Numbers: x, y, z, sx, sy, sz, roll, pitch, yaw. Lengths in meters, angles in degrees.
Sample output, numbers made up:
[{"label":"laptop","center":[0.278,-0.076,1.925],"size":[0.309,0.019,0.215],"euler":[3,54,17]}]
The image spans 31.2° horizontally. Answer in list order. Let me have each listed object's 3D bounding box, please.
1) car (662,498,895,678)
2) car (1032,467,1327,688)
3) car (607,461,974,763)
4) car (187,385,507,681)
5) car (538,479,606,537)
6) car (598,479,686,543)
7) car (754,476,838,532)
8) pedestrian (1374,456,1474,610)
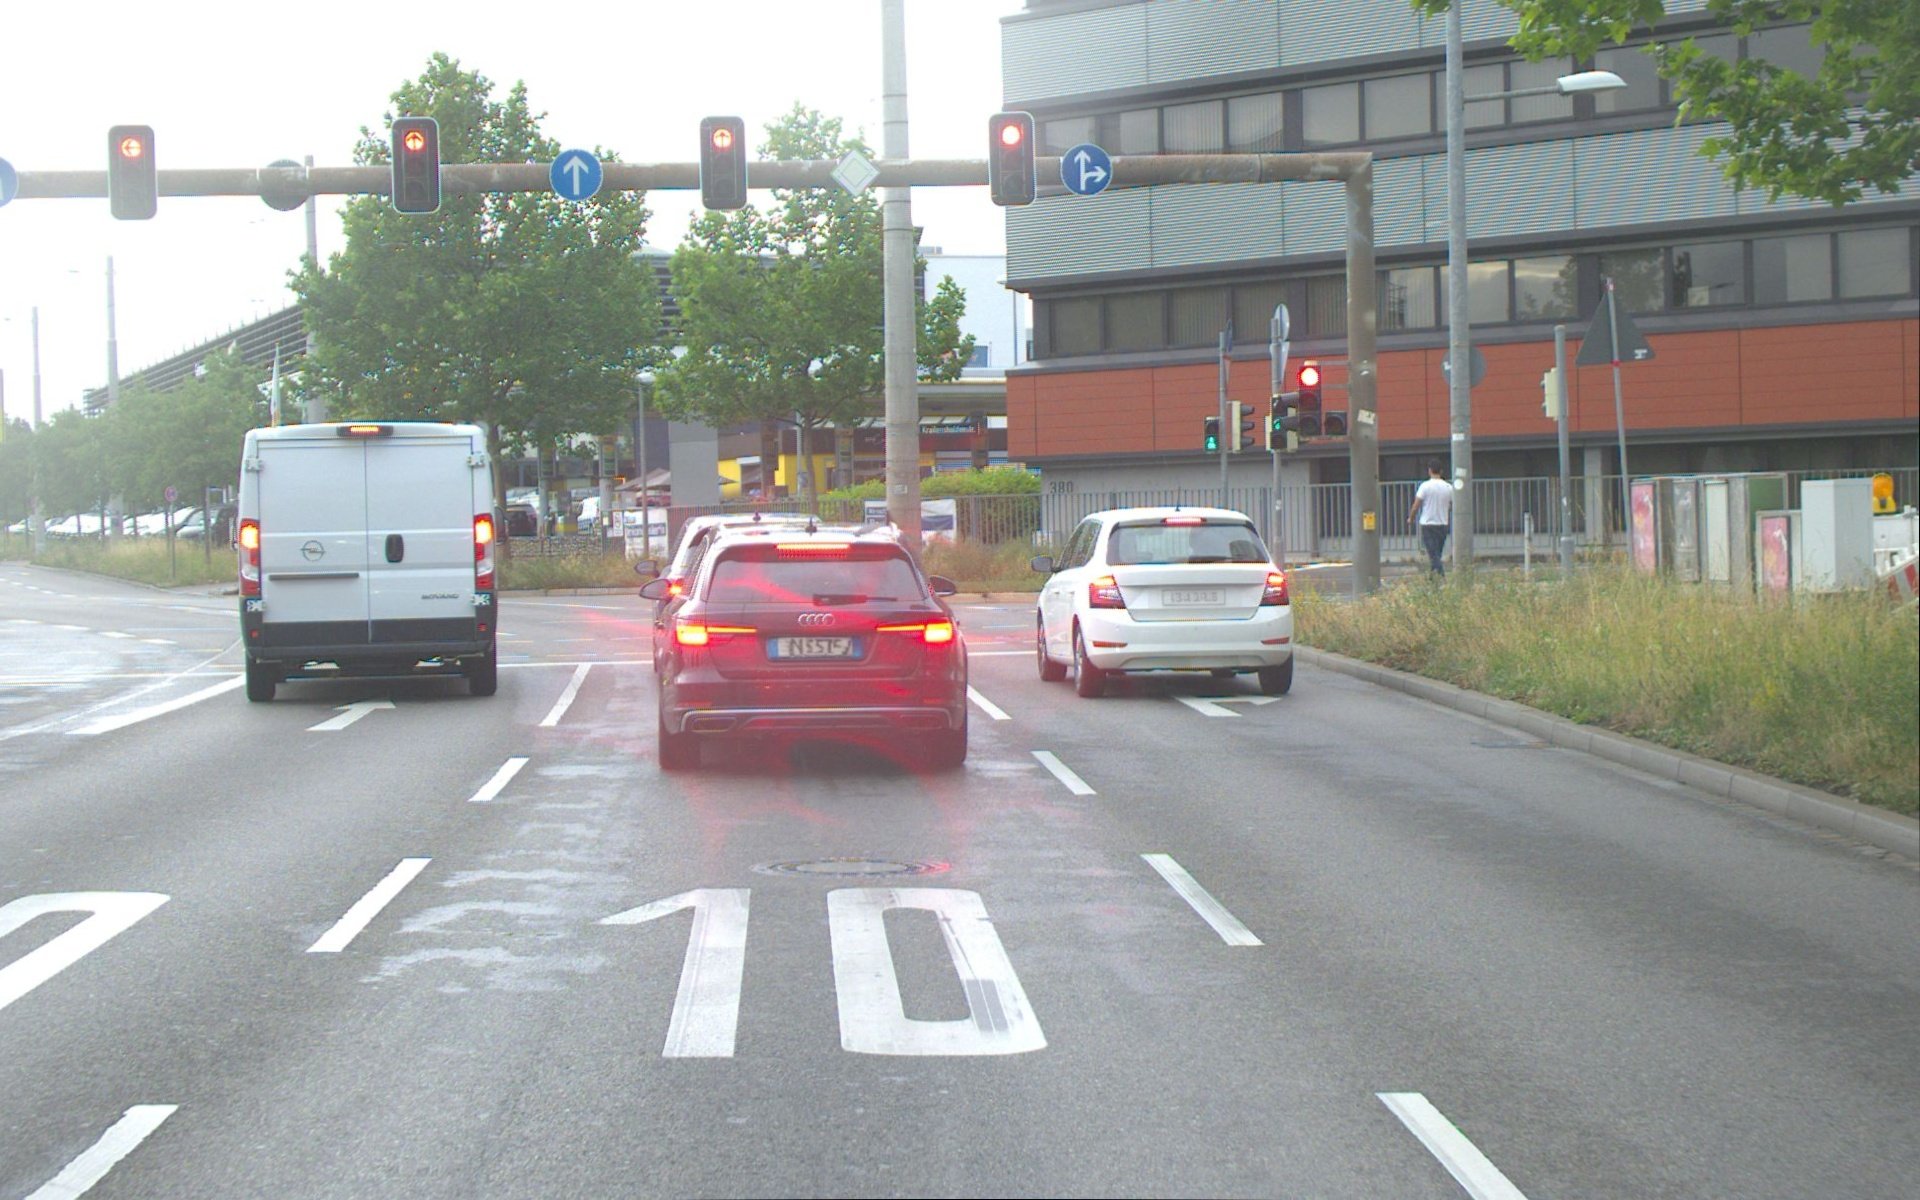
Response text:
[{"label":"car","center":[-1.542,-0.123,30.292],"size":[1.894,1.460,3.909],"euler":[-1,1,-1]},{"label":"car","center":[1.693,-0.191,27.773],"size":[1.828,1.650,4.001],"euler":[0,1,-4]},{"label":"car","center":[-1.030,0.050,20.936],"size":[1.993,1.631,4.000],"euler":[1,0,-3]},{"label":"car","center":[-5.203,-0.544,29.489],"size":[2.444,2.286,4.906],"euler":[1,0,-9]},{"label":"car","center":[-14.038,-3.312,124.193],"size":[1.678,2.007,3.543],"euler":[1,0,-19]},{"label":"car","center":[-10.694,-2.980,115.434],"size":[1.993,2.025,4.001],"euler":[-2,2,-18]},{"label":"car","center":[-6.122,-3.542,127.758],"size":[1.869,2.007,3.775],"euler":[1,0,-24]},{"label":"pedestrian","center":[6.581,-0.965,48.843],"size":[1.143,2.118,1.223],"euler":[-2,3,-3]}]
